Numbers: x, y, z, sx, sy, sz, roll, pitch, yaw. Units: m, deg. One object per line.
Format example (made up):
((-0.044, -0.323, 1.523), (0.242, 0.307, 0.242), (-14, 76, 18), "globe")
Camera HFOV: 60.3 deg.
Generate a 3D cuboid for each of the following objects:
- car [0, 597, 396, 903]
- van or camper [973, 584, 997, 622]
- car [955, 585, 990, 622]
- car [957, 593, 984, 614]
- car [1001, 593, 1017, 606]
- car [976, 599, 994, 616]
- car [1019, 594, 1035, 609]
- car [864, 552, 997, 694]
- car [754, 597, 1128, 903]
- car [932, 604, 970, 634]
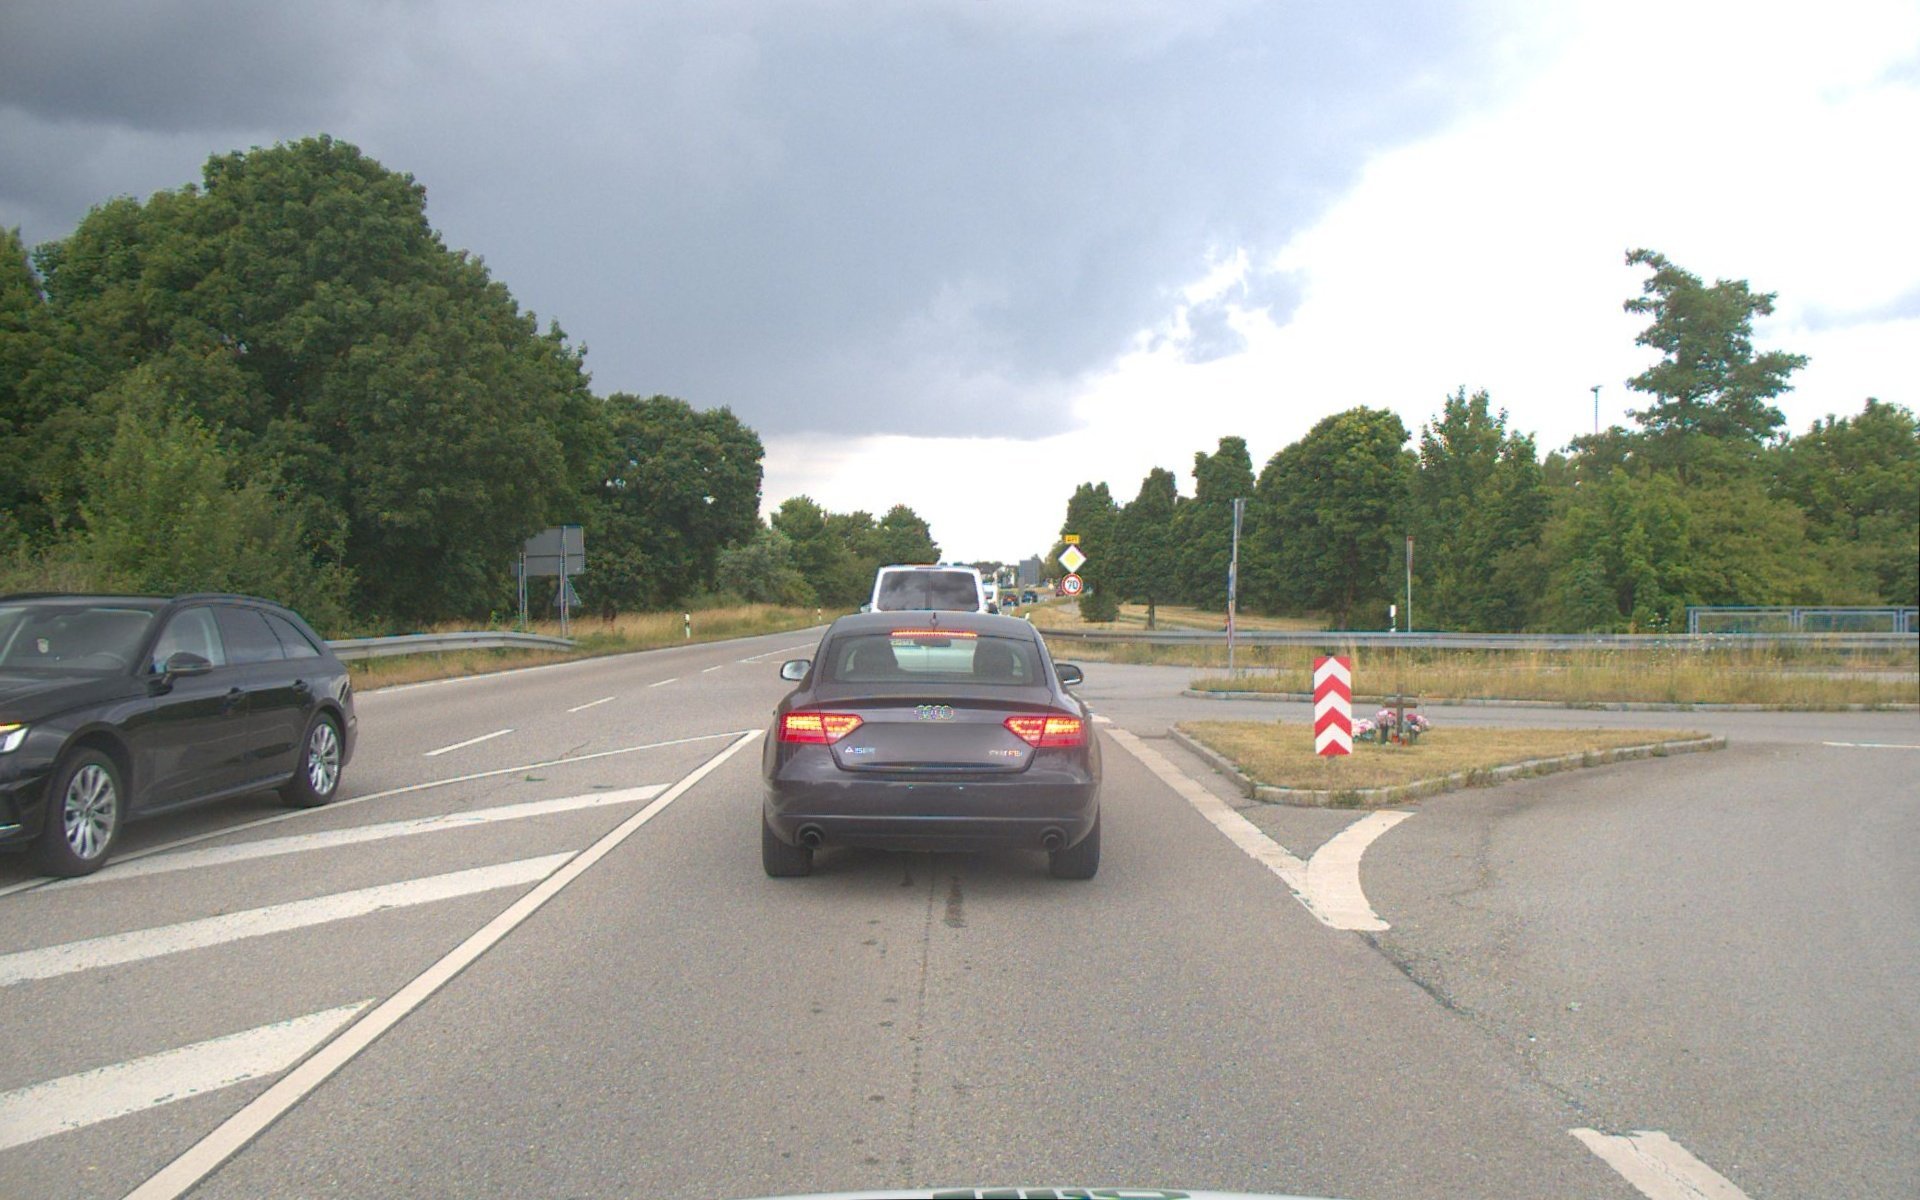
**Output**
((-5.152, 0.686, 9.815), (1.782, 1.398, 4.613), (0, 0, 4), "car")
((2.395, 0.253, 157.221), (2.292, 3.542, 5.719), (0, 0, 1), "van or camper")
((0.745, 0.218, 97.353), (1.952, 2.125, 4.001), (0, 0, 2), "car")
((0.825, 0.275, 126.737), (1.699, 1.541, 3.749), (0, 0, 5), "car")
((5.741, -0.056, 193.736), (1.683, 1.477, 4.000), (1, 0, 0), "car")
((2.116, 0.612, 138.846), (1.231, 1.377, 3.468), (0, 0, 5), "car")
((8.914, 0.174, 220.436), (1.953, 2.049, 3.999), (0, 0, -1), "car")
((-0.430, 0.303, 24.673), (1.801, 1.915, 3.999), (1, 0, -1), "car")
((-0.116, 0.704, 9.794), (1.746, 1.400, 3.999), (1, 0, -1), "car")
((-0.435, 0.945, 82.801), (1.758, 1.489, 3.249), (0, 0, 3), "car")
